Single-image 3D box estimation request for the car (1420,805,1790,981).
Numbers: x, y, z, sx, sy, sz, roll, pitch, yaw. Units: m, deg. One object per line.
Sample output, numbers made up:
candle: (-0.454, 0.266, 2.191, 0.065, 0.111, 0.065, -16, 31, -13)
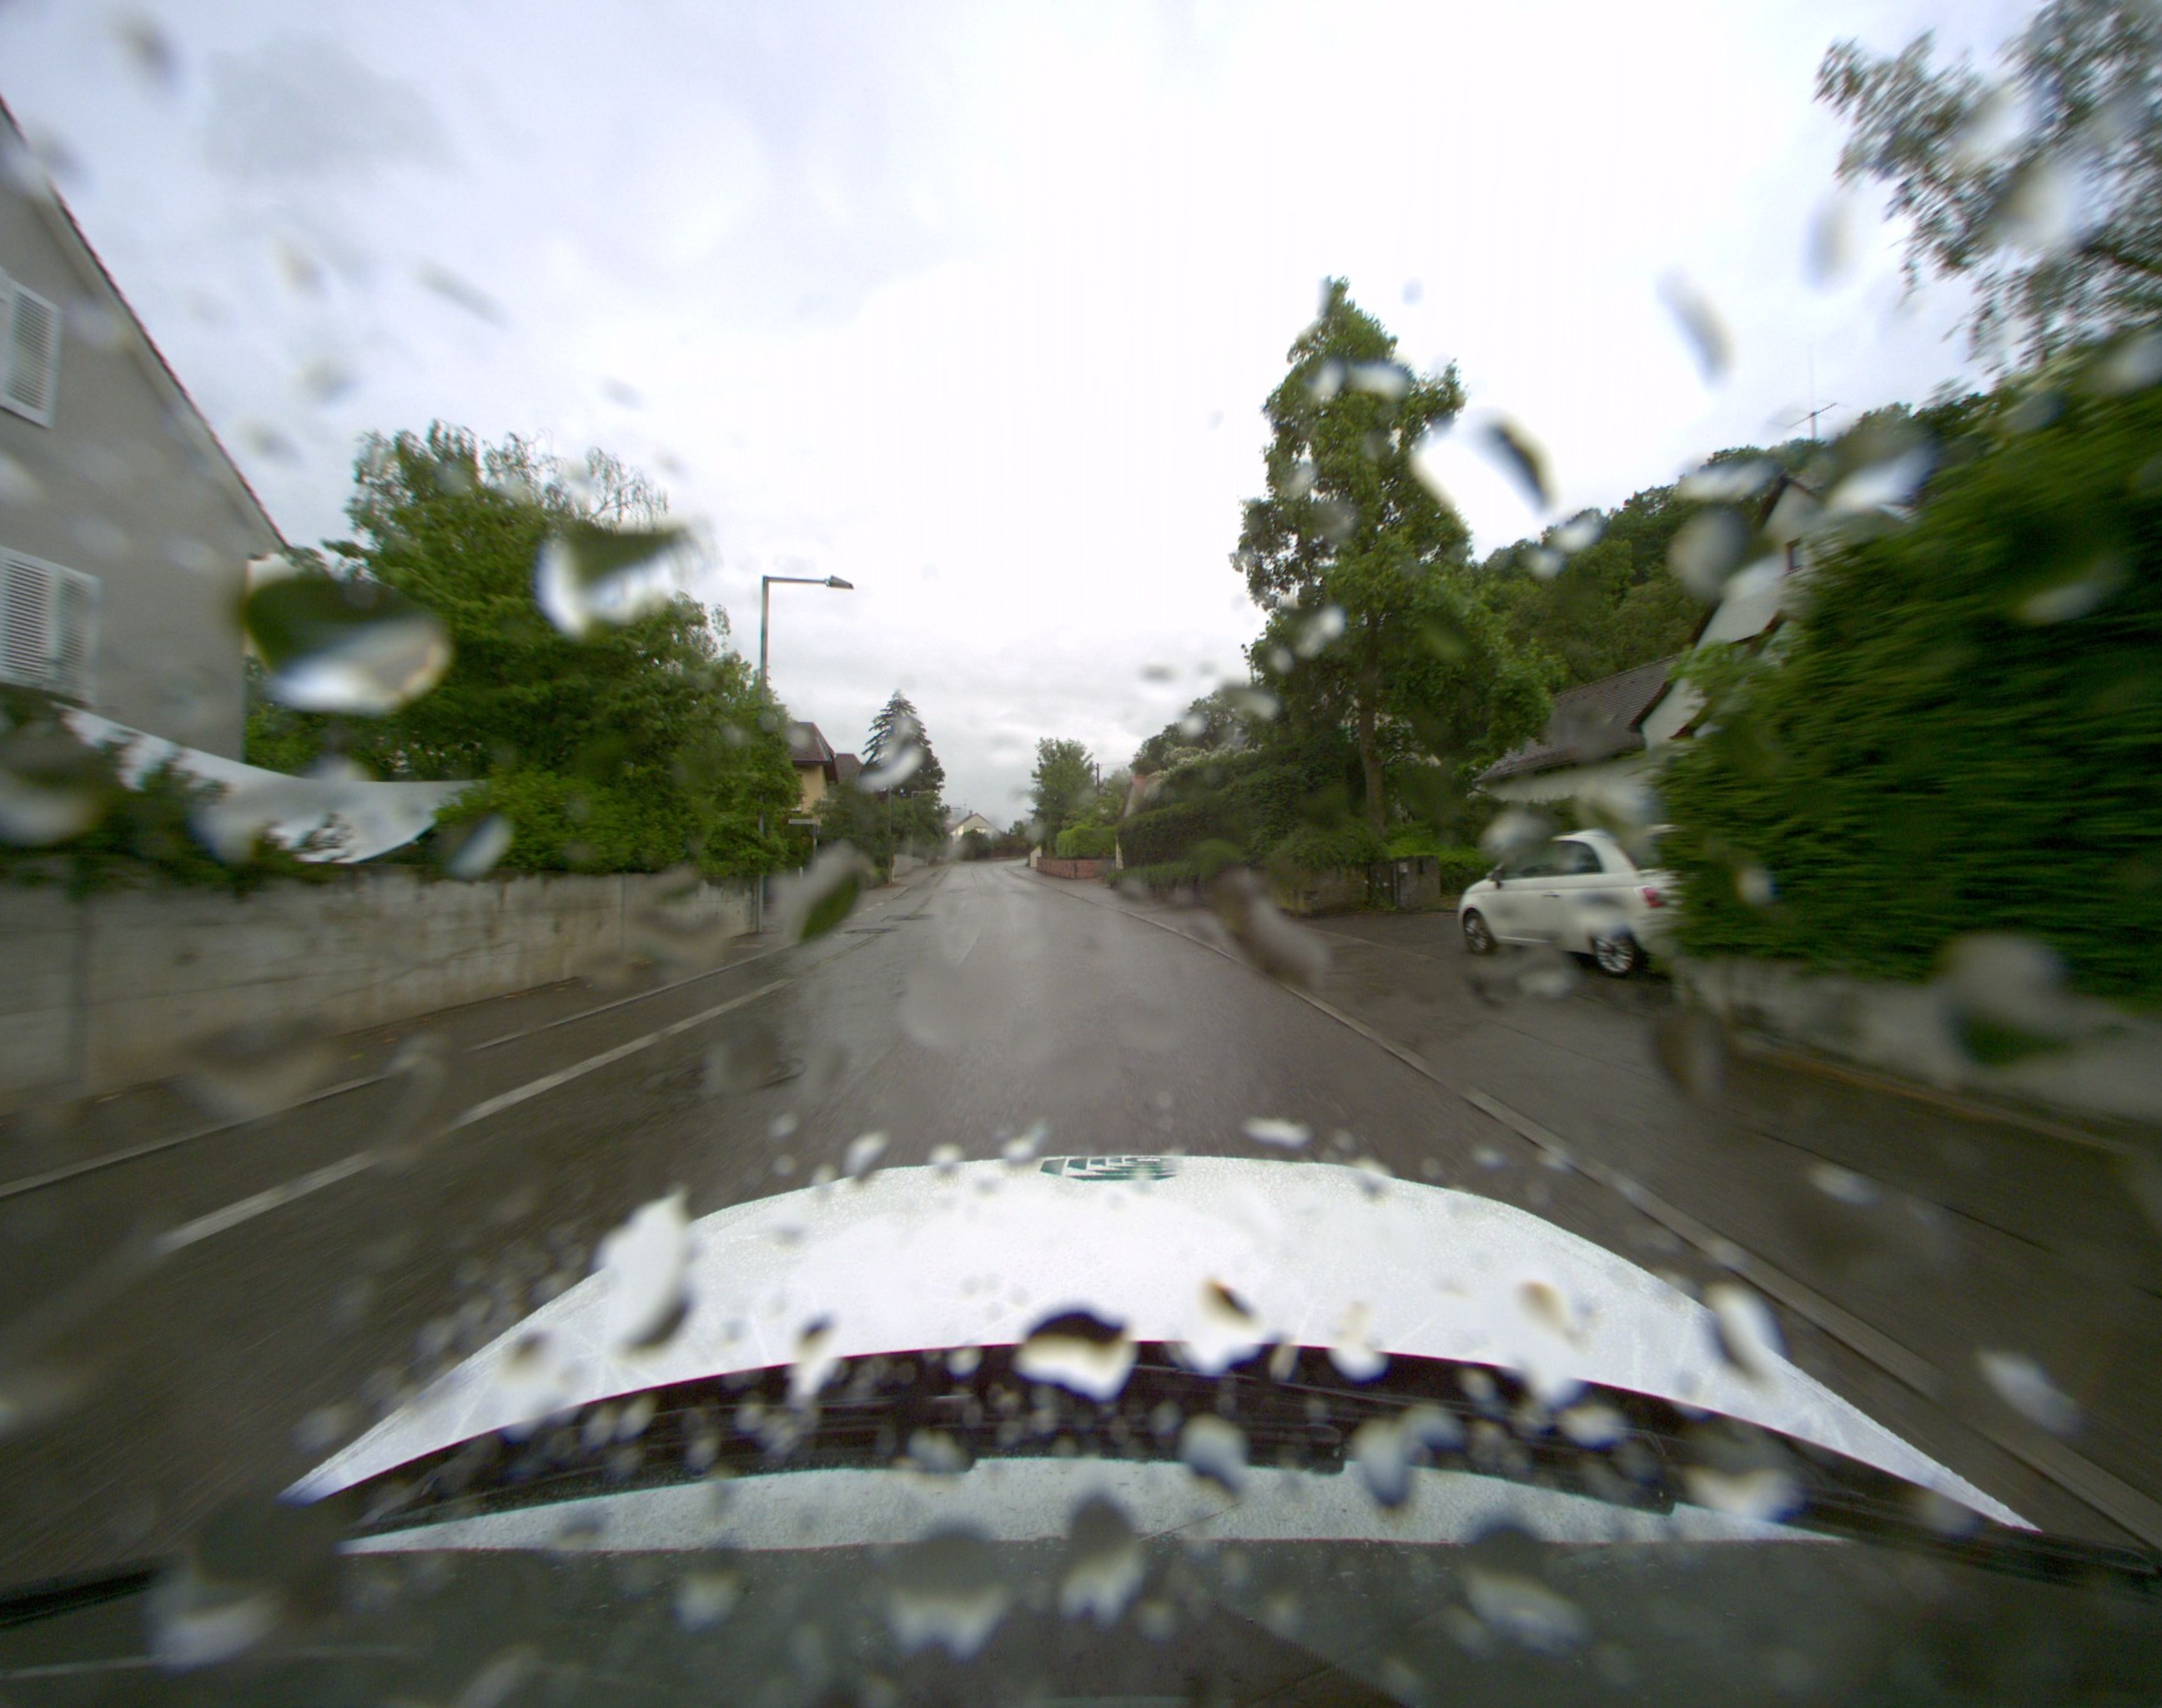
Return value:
car: (5.846, 0.354, 9.708, 1.530, 1.535, 3.836, -6, 1, -7)
